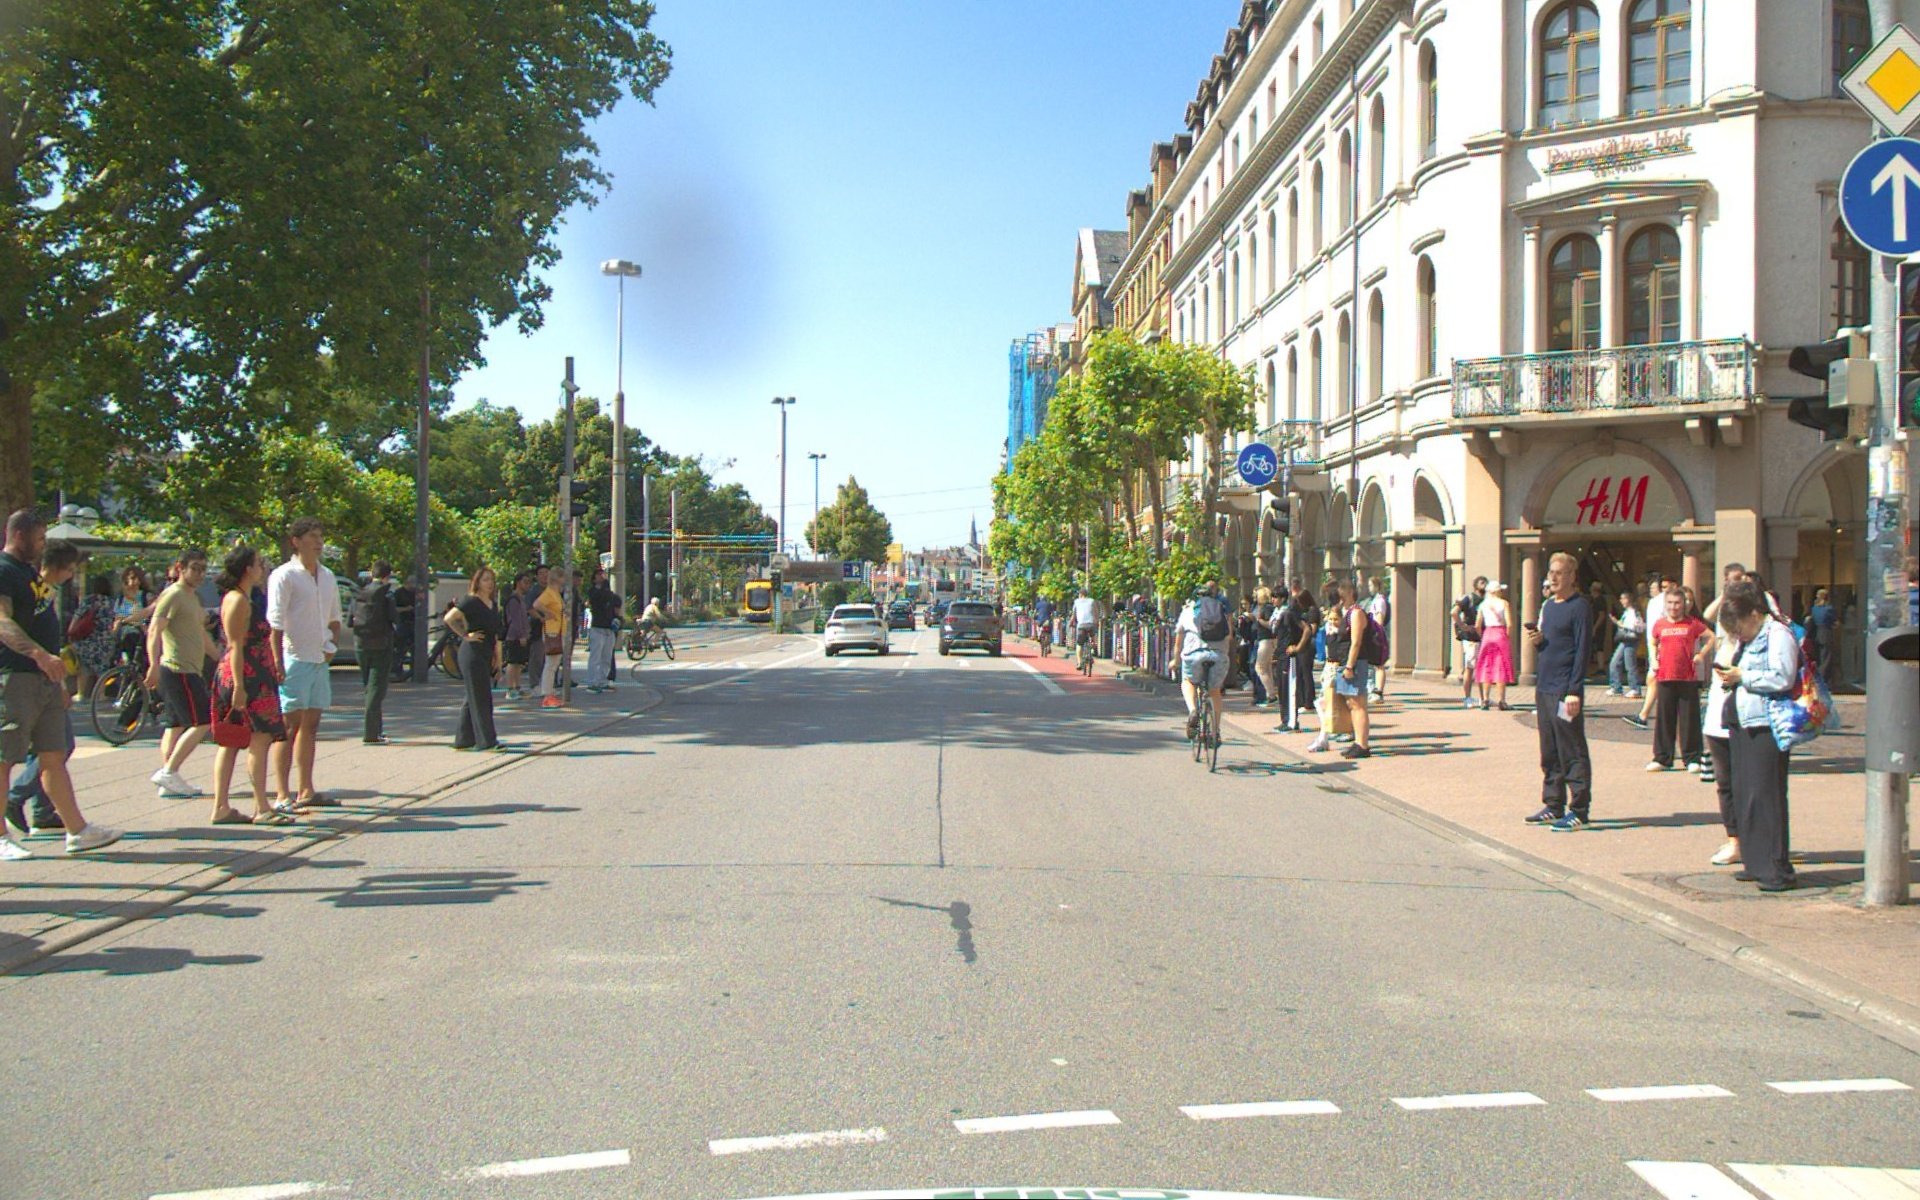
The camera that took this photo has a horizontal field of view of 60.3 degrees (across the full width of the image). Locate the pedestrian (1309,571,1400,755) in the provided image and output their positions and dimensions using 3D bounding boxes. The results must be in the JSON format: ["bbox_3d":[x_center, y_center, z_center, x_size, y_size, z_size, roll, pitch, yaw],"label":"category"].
[{"bbox_3d":[3.992,0.628,16.775,0.658,1.800,0.677,-2,0,-3],"label":"pedestrian"}]

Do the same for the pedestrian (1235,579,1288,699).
[{"bbox_3d":[4.482,0.573,24.612,0.571,1.729,0.605,-3,0,-3],"label":"pedestrian"}]

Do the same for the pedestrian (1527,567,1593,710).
[{"bbox_3d":[7.869,0.496,21.692,0.598,1.838,0.677,0,-1,-3],"label":"pedestrian"}]

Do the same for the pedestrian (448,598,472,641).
[{"bbox_3d":[-20.526,0.793,67.936,0.695,1.737,0.656,0,-1,14],"label":"pedestrian"}]

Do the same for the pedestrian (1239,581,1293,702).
[{"bbox_3d":[4.431,0.594,23.977,0.571,1.703,0.605,-3,0,-3],"label":"pedestrian"}]

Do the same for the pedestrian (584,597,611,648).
[{"bbox_3d":[-11.818,0.729,53.927,0.755,1.657,0.611,0,-1,-2],"label":"pedestrian"}]

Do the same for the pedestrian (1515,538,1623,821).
[{"bbox_3d":[4.292,0.547,11.685,0.512,1.931,0.641,-1,-1,2],"label":"pedestrian"}]

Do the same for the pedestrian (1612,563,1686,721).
[{"bbox_3d":[8.377,0.506,20.133,0.662,1.888,0.541,0,-1,-3],"label":"pedestrian"}]

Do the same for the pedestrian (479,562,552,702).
[{"bbox_3d":[-6.145,0.433,22.873,0.620,1.891,0.730,0,-1,28],"label":"pedestrian"}]

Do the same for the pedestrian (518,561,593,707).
[{"bbox_3d":[-5.157,0.430,21.115,0.619,1.825,0.731,0,-1,20],"label":"pedestrian"}]

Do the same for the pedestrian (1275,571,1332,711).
[{"bbox_3d":[4.626,0.544,22.282,0.598,1.855,0.677,0,-1,-3],"label":"pedestrian"}]

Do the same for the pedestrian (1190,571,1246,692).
[{"bbox_3d":[4.219,0.503,27.027,0.674,1.931,0.611,-3,-1,26],"label":"pedestrian"}]

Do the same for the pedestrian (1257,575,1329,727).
[{"bbox_3d":[4.006,0.605,19.939,0.598,1.769,0.677,-4,0,-3],"label":"pedestrian"}]

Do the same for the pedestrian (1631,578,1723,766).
[{"bbox_3d":[6.421,0.634,14.834,0.512,1.640,0.641,-1,-1,-1],"label":"pedestrian"}]

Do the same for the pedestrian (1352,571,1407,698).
[{"bbox_3d":[6.128,0.500,24.180,0.598,1.838,0.677,0,-1,-3],"label":"pedestrian"}]

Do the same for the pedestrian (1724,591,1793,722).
[{"bbox_3d":[10.274,0.718,21.294,0.529,1.662,0.677,1,-1,-3],"label":"pedestrian"}]

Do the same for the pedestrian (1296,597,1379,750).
[{"bbox_3d":[3.978,0.765,17.481,0.598,1.541,0.677,-4,0,-3],"label":"pedestrian"}]

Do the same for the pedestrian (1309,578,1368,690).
[{"bbox_3d":[5.978,0.523,26.143,0.603,1.735,0.671,-1,0,-29],"label":"pedestrian"}]

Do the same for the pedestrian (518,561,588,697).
[{"bbox_3d":[-5.797,0.404,23.558,0.620,1.891,0.730,0,-1,28],"label":"pedestrian"}]

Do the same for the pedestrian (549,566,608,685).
[{"bbox_3d":[-6.066,0.395,26.300,0.605,1.855,0.662,0,-1,28],"label":"pedestrian"}]

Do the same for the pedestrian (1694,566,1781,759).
[{"bbox_3d":[7.140,0.564,15.196,0.512,1.732,0.535,-1,-1,-1],"label":"pedestrian"}]

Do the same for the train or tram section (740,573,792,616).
[{"bbox_3d":[-16.241,-0.462,139.307,2.558,3.407,11.006,1,0,3],"label":"train or tram section"}]

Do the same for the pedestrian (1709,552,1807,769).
[{"bbox_3d":[7.003,0.521,14.542,0.512,1.855,0.641,-1,-1,-1],"label":"pedestrian"}]

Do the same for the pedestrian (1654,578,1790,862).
[{"bbox_3d":[4.588,0.705,9.987,0.537,1.659,0.589,-1,-1,2],"label":"pedestrian"}]

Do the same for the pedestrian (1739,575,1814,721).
[{"bbox_3d":[9.937,0.578,20.147,0.529,1.746,0.677,1,-1,-5],"label":"pedestrian"}]

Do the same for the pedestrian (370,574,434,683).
[{"bbox_3d":[-9.405,0.475,27.891,0.665,1.795,0.765,0,-1,28],"label":"pedestrian"}]

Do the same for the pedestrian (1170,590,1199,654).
[{"bbox_3d":[5.986,0.583,44.082,0.662,1.694,0.611,0,0,-3],"label":"pedestrian"}]

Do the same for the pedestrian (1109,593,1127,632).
[{"bbox_3d":[6.482,0.503,67.881,0.662,1.600,0.611,0,0,-3],"label":"pedestrian"}]

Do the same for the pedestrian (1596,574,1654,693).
[{"bbox_3d":[10.178,0.508,25.325,0.598,1.794,0.677,0,-1,-3],"label":"pedestrian"}]

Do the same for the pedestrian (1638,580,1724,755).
[{"bbox_3d":[6.914,0.639,15.874,0.512,1.637,0.641,-1,-1,-1],"label":"pedestrian"}]

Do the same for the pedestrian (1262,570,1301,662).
[{"bbox_3d":[6.422,0.325,33.062,0.662,1.823,0.612,0,0,-1],"label":"pedestrian"}]

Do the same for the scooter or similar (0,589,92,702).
[{"bbox_3d":[-12.434,0.587,22.033,1.252,1.445,1.037,0,0,30],"label":"scooter or similar"}]

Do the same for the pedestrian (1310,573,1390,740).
[{"bbox_3d":[4.363,0.621,18.527,0.598,1.790,0.677,-4,0,-3],"label":"pedestrian"}]

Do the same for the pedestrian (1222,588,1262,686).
[{"bbox_3d":[4.798,0.625,28.130,0.519,1.622,0.611,0,3,25],"label":"pedestrian"}]

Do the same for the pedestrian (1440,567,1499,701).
[{"bbox_3d":[7.166,0.477,23.287,0.598,1.855,0.677,0,-1,-3],"label":"pedestrian"}]

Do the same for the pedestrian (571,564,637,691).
[{"bbox_3d":[-5.321,0.403,24.726,0.620,1.866,0.730,0,-1,28],"label":"pedestrian"}]

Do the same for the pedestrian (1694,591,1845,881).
[{"bbox_3d":[4.493,0.734,9.213,0.512,1.548,0.641,-1,-1,2],"label":"pedestrian"}]

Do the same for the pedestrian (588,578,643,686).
[{"bbox_3d":[-5.497,0.497,26.404,0.605,1.697,0.591,0,-1,28],"label":"pedestrian"}]

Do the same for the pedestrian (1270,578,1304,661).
[{"bbox_3d":[7.207,0.423,36.487,0.615,1.823,0.612,0,0,-1],"label":"pedestrian"}]

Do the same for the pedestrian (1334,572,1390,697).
[{"bbox_3d":[6.056,0.520,24.920,0.598,1.838,0.677,2,-1,-3],"label":"pedestrian"}]
